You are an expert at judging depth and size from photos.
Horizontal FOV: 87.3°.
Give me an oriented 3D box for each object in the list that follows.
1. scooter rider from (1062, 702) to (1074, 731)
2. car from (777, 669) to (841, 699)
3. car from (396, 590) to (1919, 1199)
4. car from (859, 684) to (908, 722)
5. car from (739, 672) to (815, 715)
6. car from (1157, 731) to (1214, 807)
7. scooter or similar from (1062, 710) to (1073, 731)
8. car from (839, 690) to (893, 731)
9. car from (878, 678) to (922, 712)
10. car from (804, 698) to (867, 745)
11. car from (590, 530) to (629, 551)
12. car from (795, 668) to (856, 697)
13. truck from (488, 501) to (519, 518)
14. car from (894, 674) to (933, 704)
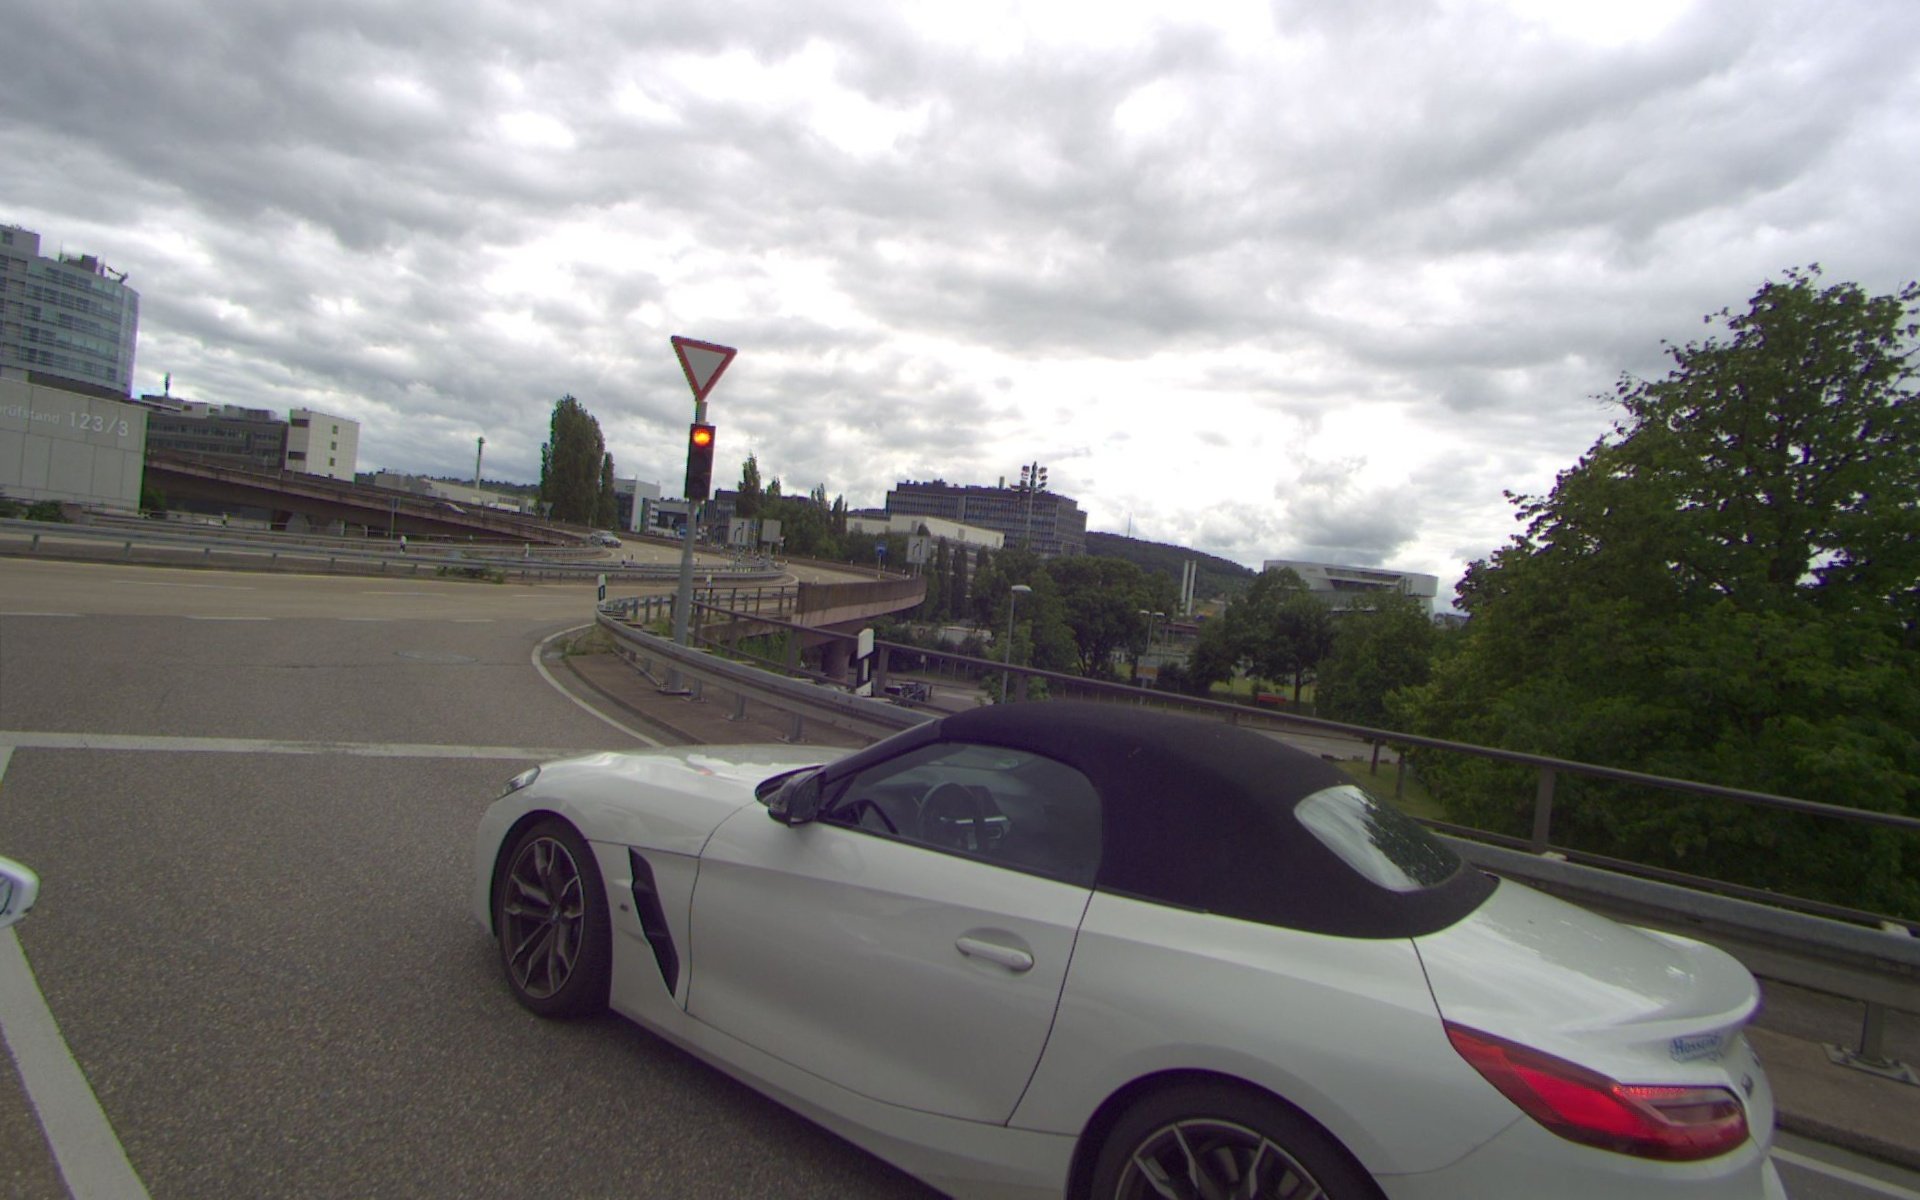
[{"bbox_3d":[7.073,7.608,65.699,0.481,1.776,0.548,8,2,10],"label":"scooter rider"},{"bbox_3d":[-10.056,5.610,67.279,3.791,1.371,1.827,8,1,3],"label":"car"},{"bbox_3d":[0.109,0.912,3.393,4.197,1.306,1.807,7,-2,36],"label":"car"},{"bbox_3d":[-4.348,5.875,57.813,1.792,1.553,4.001,8,0,8],"label":"car"},{"bbox_3d":[-10.548,5.359,58.018,3.791,1.782,1.826,8,1,3],"label":"car"},{"bbox_3d":[10.291,7.603,45.946,1.978,2.617,5.399,10,-2,13],"label":"car"},{"bbox_3d":[7.026,7.889,65.729,0.481,1.199,1.073,8,1,10],"label":"scooter or similar"},{"bbox_3d":[-4.895,5.788,53.025,1.792,1.553,4.001,8,0,8],"label":"car"},{"bbox_3d":[-3.722,5.945,63.150,1.792,1.553,4.196,8,0,8],"label":"car"},{"bbox_3d":[-5.776,5.650,47.227,1.792,1.553,4.001,8,0,8],"label":"car"},{"bbox_3d":[-35.252,-6.019,101.015,1.905,1.679,4.693,12,-4,-41],"label":"car"},{"bbox_3d":[-9.344,5.741,70.032,3.791,1.371,1.827,8,1,3],"label":"car"},{"bbox_3d":[-84.999,-16.854,187.428,1.969,2.194,4.597,7,-4,36],"label":"truck"},{"bbox_3d":[-3.173,6.080,69.270,1.792,1.553,4.001,8,0,8],"label":"car"}]
